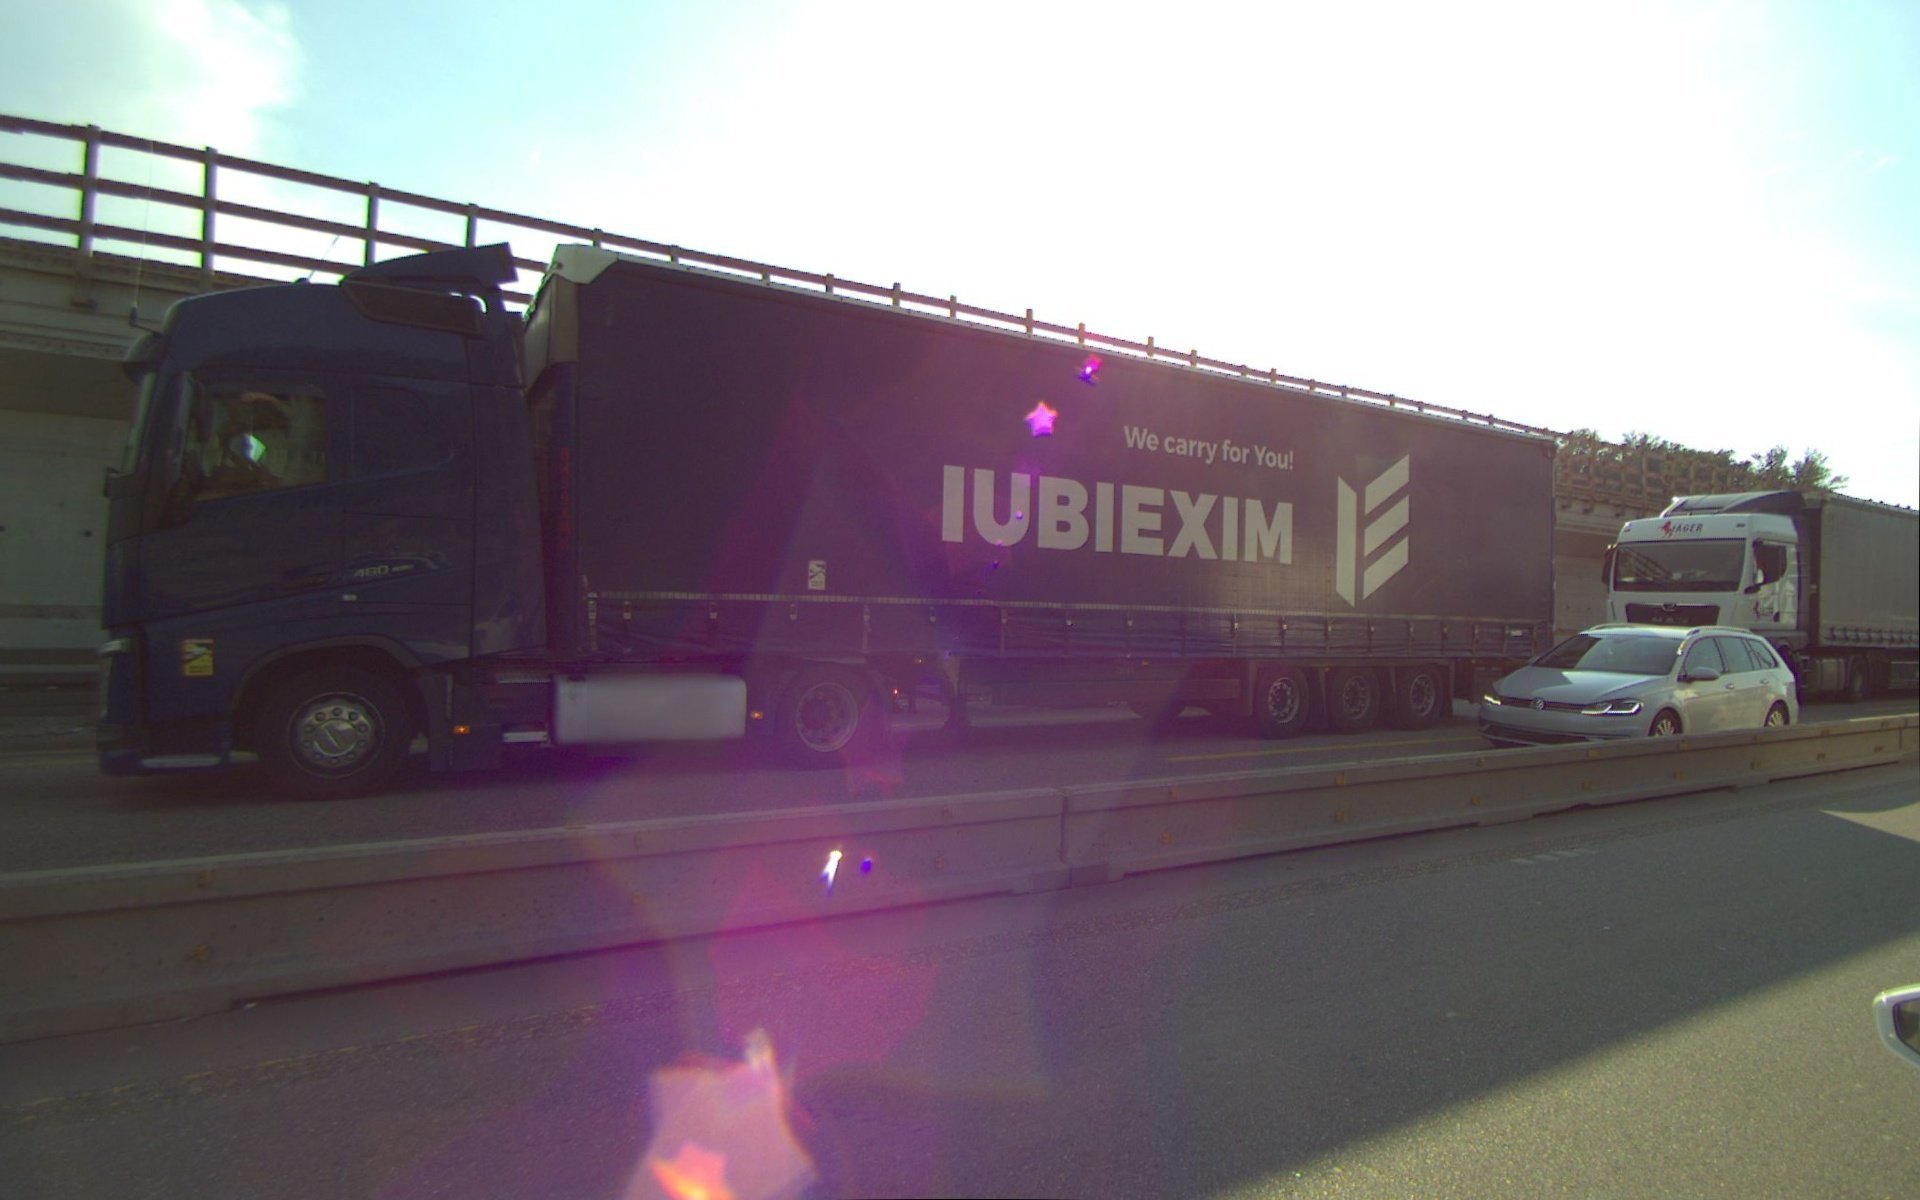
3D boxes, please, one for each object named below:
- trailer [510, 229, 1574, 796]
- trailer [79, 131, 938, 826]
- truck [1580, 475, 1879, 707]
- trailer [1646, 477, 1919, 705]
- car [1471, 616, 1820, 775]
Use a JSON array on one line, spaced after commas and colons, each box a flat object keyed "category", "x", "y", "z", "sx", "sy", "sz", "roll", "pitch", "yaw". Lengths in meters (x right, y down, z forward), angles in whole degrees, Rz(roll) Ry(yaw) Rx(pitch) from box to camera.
[{"category": "trailer", "x": 2.248, "y": -0.543, "z": 12.209, "sx": 13.863, "sy": 4.197, "sz": 2.751, "roll": 1, "pitch": 0, "yaw": -31}, {"category": "trailer", "x": -3.451, "y": -0.693, "z": 8.783, "sx": 5.907, "sy": 4.197, "sz": 2.751, "roll": 1, "pitch": 0, "yaw": -31}, {"category": "truck", "x": 15.531, "y": -0.060, "z": 20.232, "sx": 5.593, "sy": 4.061, "sz": 2.846, "roll": 2, "pitch": 0, "yaw": -31}, {"category": "trailer", "x": 21.239, "y": 0.074, "z": 23.723, "sx": 13.613, "sy": 4.296, "sz": 2.898, "roll": 3, "pitch": 0, "yaw": -31}, {"category": "car", "x": 7.968, "y": 1.012, "z": 11.542, "sx": 4.546, "sy": 1.478, "sz": 1.631, "roll": 3, "pitch": -1, "yaw": -32}]
